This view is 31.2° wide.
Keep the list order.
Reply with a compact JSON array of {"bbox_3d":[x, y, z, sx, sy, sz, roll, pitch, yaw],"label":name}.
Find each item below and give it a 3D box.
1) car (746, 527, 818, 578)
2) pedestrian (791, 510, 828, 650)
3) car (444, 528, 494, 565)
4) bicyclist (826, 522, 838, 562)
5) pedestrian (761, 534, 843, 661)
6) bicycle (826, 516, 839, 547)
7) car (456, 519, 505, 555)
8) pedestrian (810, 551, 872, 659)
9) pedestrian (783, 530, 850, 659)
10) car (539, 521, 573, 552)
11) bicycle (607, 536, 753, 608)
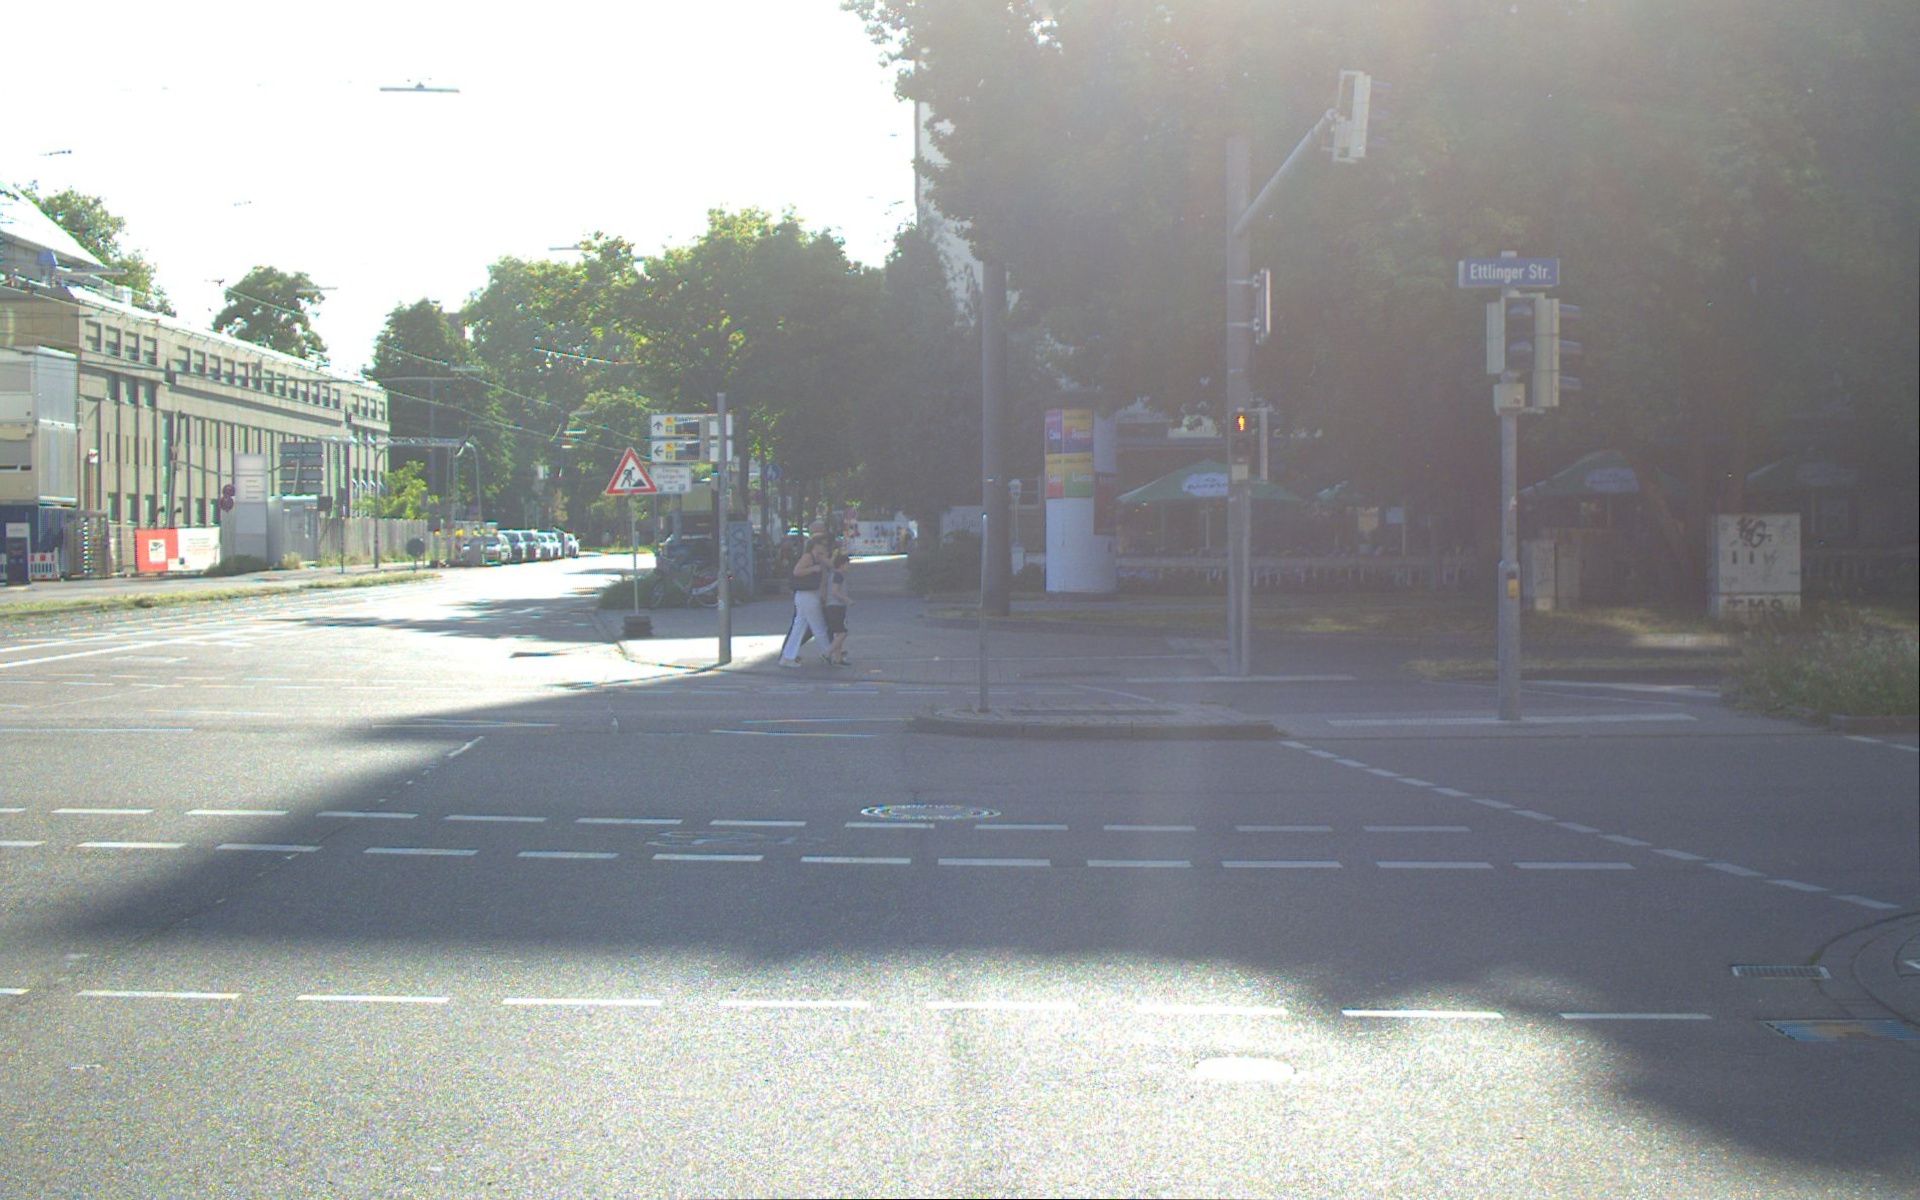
[{"bbox_3d":[-4.587,-1.238,89.018,1.819,1.274,4.001,0,1,-3],"label":"car"},{"bbox_3d":[-1.953,-0.260,44.636,0.361,1.798,0.506,0,1,11],"label":"pedestrian"},{"bbox_3d":[-22.318,-2.433,156.250,1.731,1.647,4.000,0,1,-1],"label":"car"},{"bbox_3d":[-3.663,-1.659,98.346,0.318,1.123,0.291,-1,1,-1],"label":"bicyclist"},{"bbox_3d":[-1.986,-0.030,43.346,0.984,1.582,0.660,0,0,1],"label":"pedestrian"},{"bbox_3d":[-3.656,-1.955,98.463,0.324,0.865,1.483,-1,1,-1],"label":"bicycle"},{"bbox_3d":[-22.325,-2.923,160.185,1.731,1.647,4.000,0,1,-1],"label":"car"},{"bbox_3d":[-1.484,0.061,43.063,0.752,1.328,0.742,-1,1,-1],"label":"pedestrian"},{"bbox_3d":[-1.825,-0.075,43.764,0.795,1.634,0.533,0,1,2],"label":"pedestrian"},{"bbox_3d":[-22.837,-3.581,194.461,1.483,1.744,4.000,-1,1,-1],"label":"car"},{"bbox_3d":[-5.470,-0.552,67.146,2.748,1.363,0.630,1,0,11],"label":"bicycle"}]
